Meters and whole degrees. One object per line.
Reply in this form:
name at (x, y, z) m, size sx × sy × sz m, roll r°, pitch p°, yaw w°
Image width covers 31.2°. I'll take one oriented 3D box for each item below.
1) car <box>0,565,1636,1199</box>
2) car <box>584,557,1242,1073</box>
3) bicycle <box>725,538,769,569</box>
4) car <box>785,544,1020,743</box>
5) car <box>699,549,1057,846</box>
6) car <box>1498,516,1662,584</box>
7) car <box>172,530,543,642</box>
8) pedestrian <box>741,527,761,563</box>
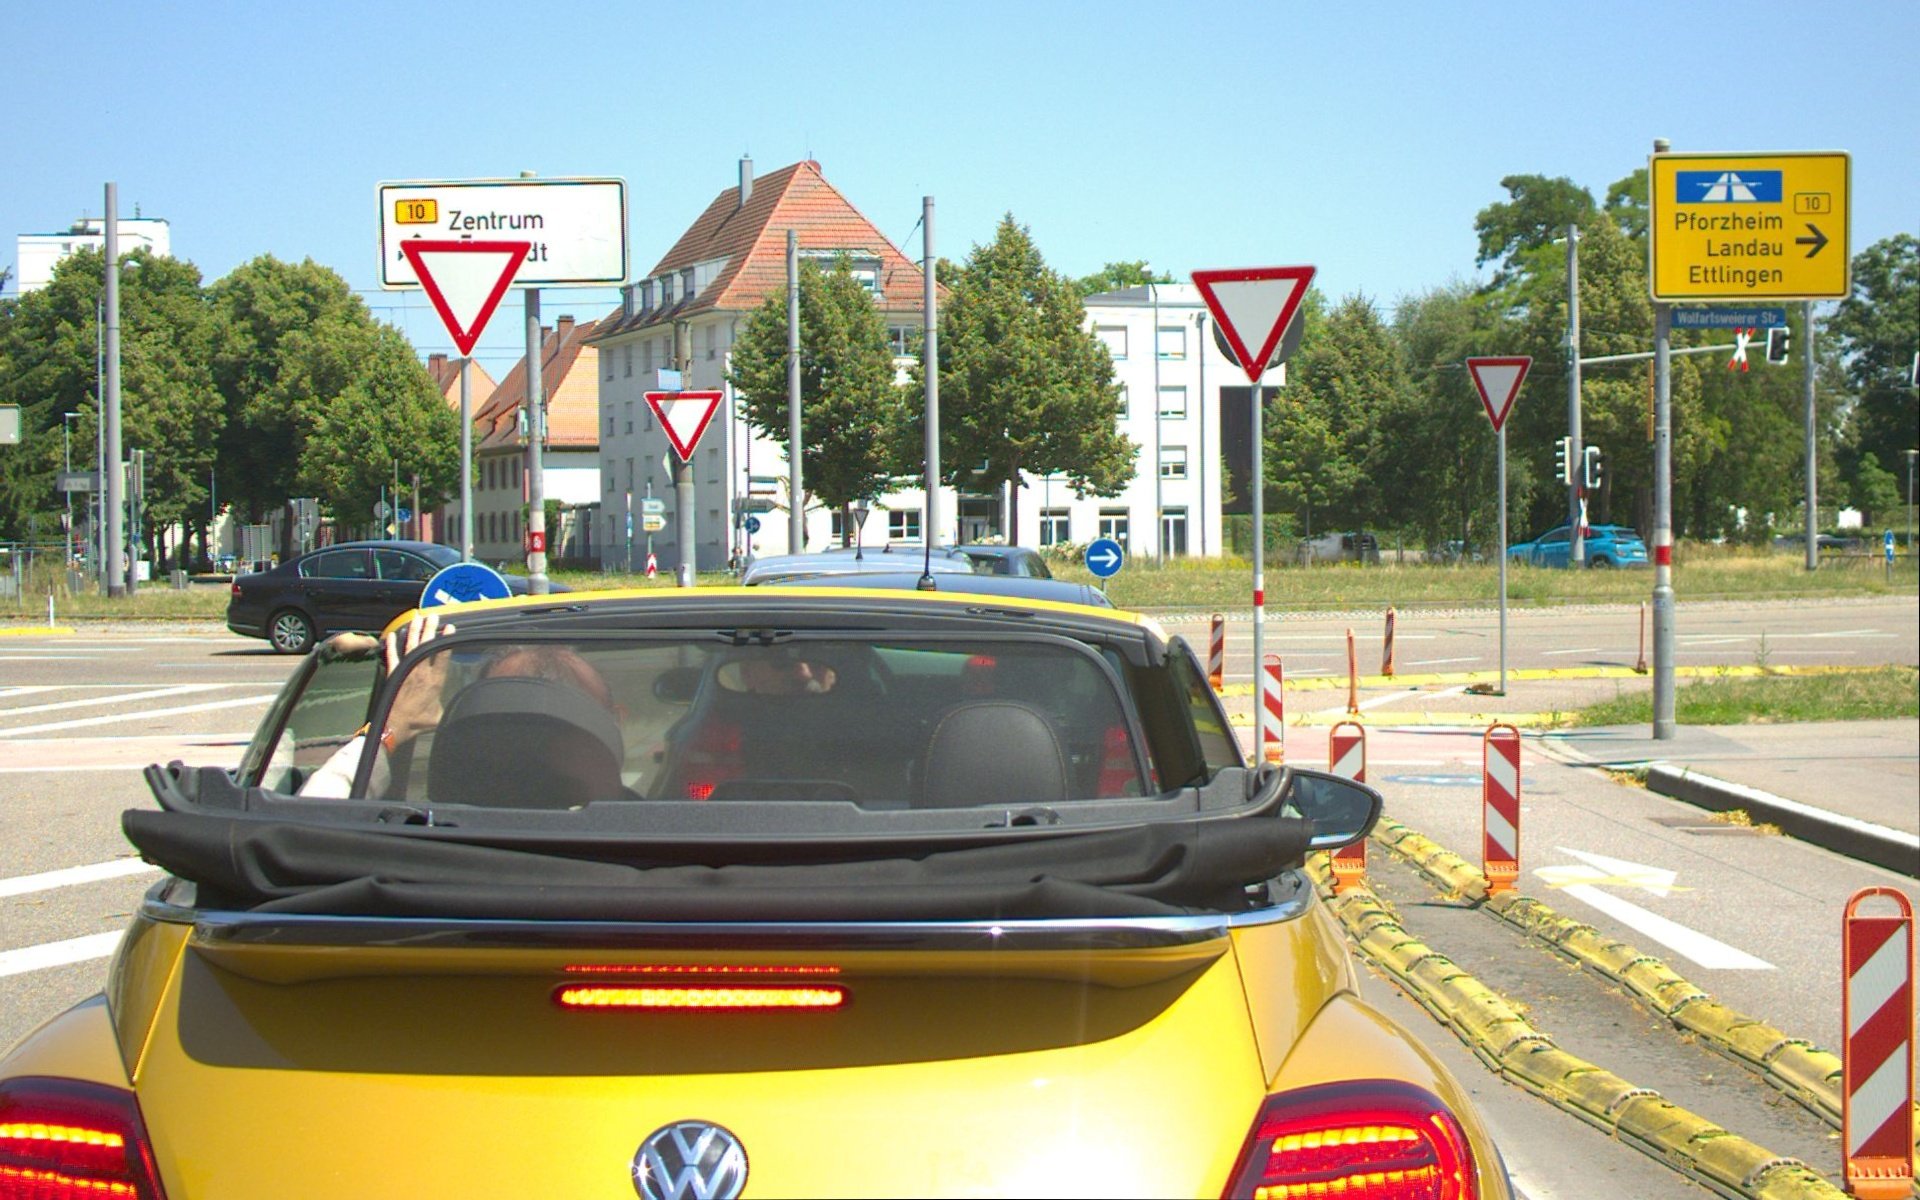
car at (-0.314, 0.672, 4.898) m, size 1.752 × 1.417 × 3.778 m, roll 0°, pitch 1°, yaw -1°
car at (-0.151, 0.581, 11.679) m, size 1.848 × 1.437 × 4.000 m, roll 0°, pitch 1°, yaw -1°
bicycle at (-7.314, -1.588, 118.053) m, size 1.465 × 1.067 × 0.499 m, roll 0°, pitch 1°, yaw -7°
car at (-0.446, 0.293, 27.493) m, size 1.736 × 1.472 × 4.000 m, roll 0°, pitch 1°, yaw -1°
car at (-0.418, 0.443, 18.692) m, size 1.736 × 1.437 × 4.000 m, roll 0°, pitch 1°, yaw -1°
car at (17.113, -1.379, 94.977) m, size 3.994 × 1.831 × 1.996 m, roll 1°, pitch 1°, yaw 33°
car at (-7.984, -0.202, 45.697) m, size 4.519 × 1.442 × 1.822 m, roll 0°, pitch 1°, yaw 8°
pedestrian at (-7.181, -1.884, 118.064) m, size 0.675 × 1.226 × 0.499 m, roll 0°, pitch 1°, yaw -7°
